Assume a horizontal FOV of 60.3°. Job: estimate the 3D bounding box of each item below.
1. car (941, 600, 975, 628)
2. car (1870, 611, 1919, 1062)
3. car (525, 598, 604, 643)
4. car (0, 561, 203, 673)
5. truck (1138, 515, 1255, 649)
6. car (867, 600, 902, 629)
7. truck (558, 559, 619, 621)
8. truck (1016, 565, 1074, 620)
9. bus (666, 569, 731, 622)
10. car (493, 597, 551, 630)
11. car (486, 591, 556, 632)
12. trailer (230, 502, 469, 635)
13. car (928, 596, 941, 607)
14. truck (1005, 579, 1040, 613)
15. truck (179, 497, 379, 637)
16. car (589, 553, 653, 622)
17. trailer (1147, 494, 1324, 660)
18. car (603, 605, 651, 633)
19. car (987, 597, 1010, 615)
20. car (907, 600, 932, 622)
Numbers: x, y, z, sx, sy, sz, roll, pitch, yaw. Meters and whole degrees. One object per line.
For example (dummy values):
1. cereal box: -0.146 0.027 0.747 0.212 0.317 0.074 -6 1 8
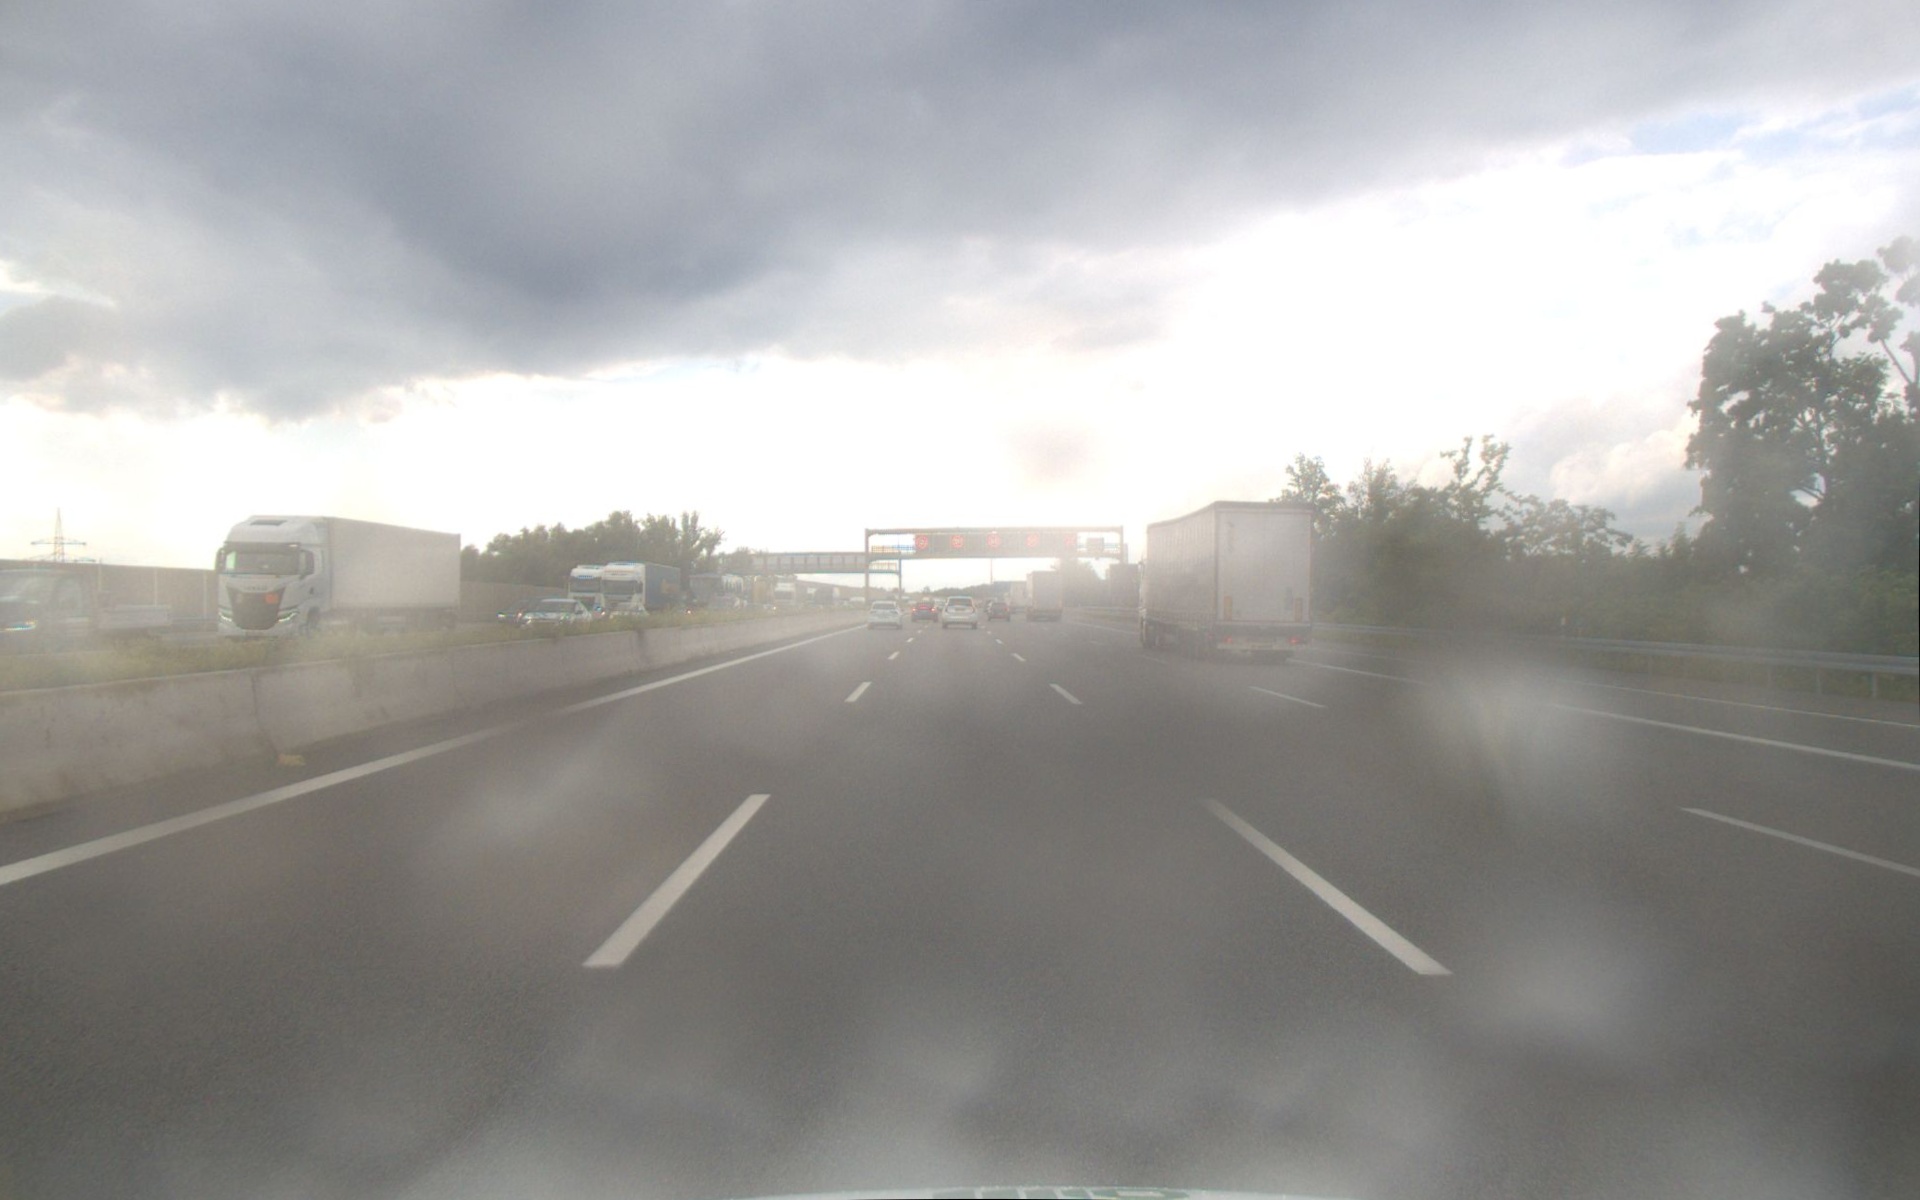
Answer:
1. car: -0.121 0.757 91.514 1.736 1.466 4.054 1 0 -2
2. car: 3.884 0.780 4.125 1.418 1.466 3.162 1 0 -2
3. car: -13.764 0.688 57.758 1.751 1.479 4.563 1 0 -2
4. car: -17.593 0.294 32.798 2.233 2.002 6.087 1 0 1
5. truck: 7.669 -0.568 54.450 2.900 4.090 6.589 1 0 0
6. car: -3.924 0.762 86.794 1.736 1.466 3.873 1 0 -1
7. truck: -26.481 -0.693 118.160 2.841 4.188 6.621 1 0 -1
8. truck: 7.103 -0.594 140.392 4.095 4.363 12.610 1 0 -1
9. bus: -19.041 -0.302 121.298 2.831 3.674 12.756 1 0 -1
10. car: -22.030 0.664 83.326 1.751 1.619 4.384 1 0 -1
11. car: -18.018 0.450 68.037 1.751 1.589 4.563 1 0 -2
12. trailer: -21.600 -0.988 59.815 3.585 4.180 13.398 1 0 0
13. car: -3.460 0.181 228.541 1.736 1.466 4.055 1 0 0
14. truck: 8.267 -0.507 220.446 4.157 4.249 11.988 1 0 0
15. truck: -21.600 -0.993 52.924 3.585 4.118 6.524 1 0 0
16. car: -21.748 -0.762 106.389 2.922 4.222 6.041 1 0 -1
17. trailer: 7.657 -0.584 48.235 2.900 4.090 14.118 1 0 0
18. car: -18.485 1.040 91.937 1.751 1.480 4.564 1 0 -1
19. car: 3.081 0.470 132.925 1.798 1.466 4.055 1 0 0
20. car: -2.894 0.768 118.441 1.736 1.466 4.054 1 0 -2
